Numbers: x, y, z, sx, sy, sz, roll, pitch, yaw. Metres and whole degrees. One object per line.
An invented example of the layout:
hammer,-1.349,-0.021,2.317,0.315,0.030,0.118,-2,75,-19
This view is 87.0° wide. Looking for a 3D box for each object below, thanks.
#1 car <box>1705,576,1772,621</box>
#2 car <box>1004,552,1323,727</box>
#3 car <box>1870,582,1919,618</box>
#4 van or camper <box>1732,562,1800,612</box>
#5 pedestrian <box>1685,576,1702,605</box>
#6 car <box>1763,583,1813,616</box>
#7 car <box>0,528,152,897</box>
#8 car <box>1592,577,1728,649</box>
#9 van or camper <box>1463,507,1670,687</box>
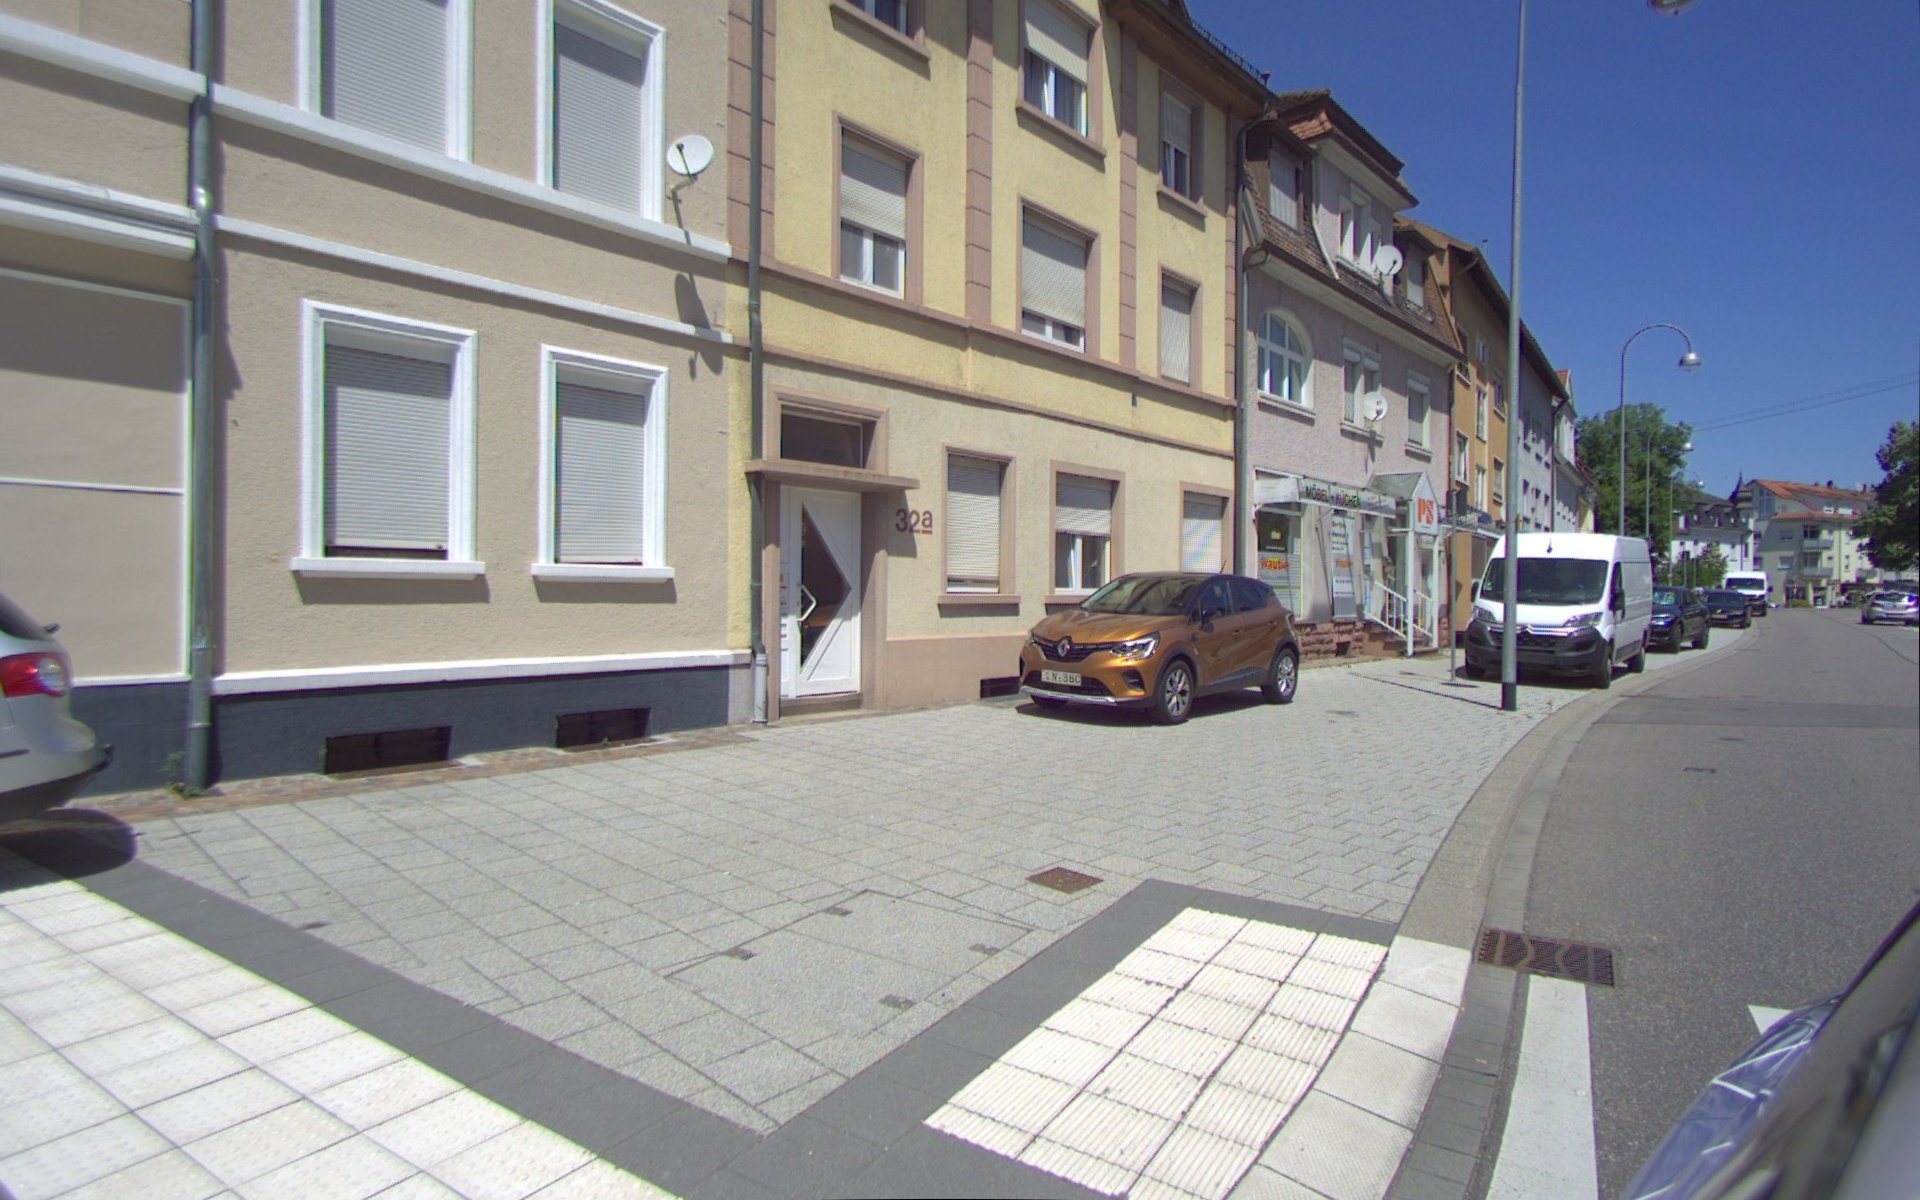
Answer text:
car,31.244,-0.080,40.589,1.729,1.653,3.938,3,3,43
car,2.520,0.317,11.751,1.672,1.639,4.297,3,3,42
car,40.837,-0.023,43.938,1.656,1.515,3.709,0,1,37
van or camper,43.505,-0.743,54.778,2.098,2.497,6.110,0,2,31
pedestrian,45.613,-0.599,62.939,0.514,1.727,0.799,3,2,19
car,40.807,-0.060,49.939,1.800,1.549,4.093,1,1,38
car,-5.876,0.475,3.493,1.763,1.549,4.619,1,2,42
car,17.859,0.249,25.759,4.290,1.627,1.898,-1,3,-42
van or camper,10.699,-0.108,17.609,2.163,2.621,5.682,1,2,40
